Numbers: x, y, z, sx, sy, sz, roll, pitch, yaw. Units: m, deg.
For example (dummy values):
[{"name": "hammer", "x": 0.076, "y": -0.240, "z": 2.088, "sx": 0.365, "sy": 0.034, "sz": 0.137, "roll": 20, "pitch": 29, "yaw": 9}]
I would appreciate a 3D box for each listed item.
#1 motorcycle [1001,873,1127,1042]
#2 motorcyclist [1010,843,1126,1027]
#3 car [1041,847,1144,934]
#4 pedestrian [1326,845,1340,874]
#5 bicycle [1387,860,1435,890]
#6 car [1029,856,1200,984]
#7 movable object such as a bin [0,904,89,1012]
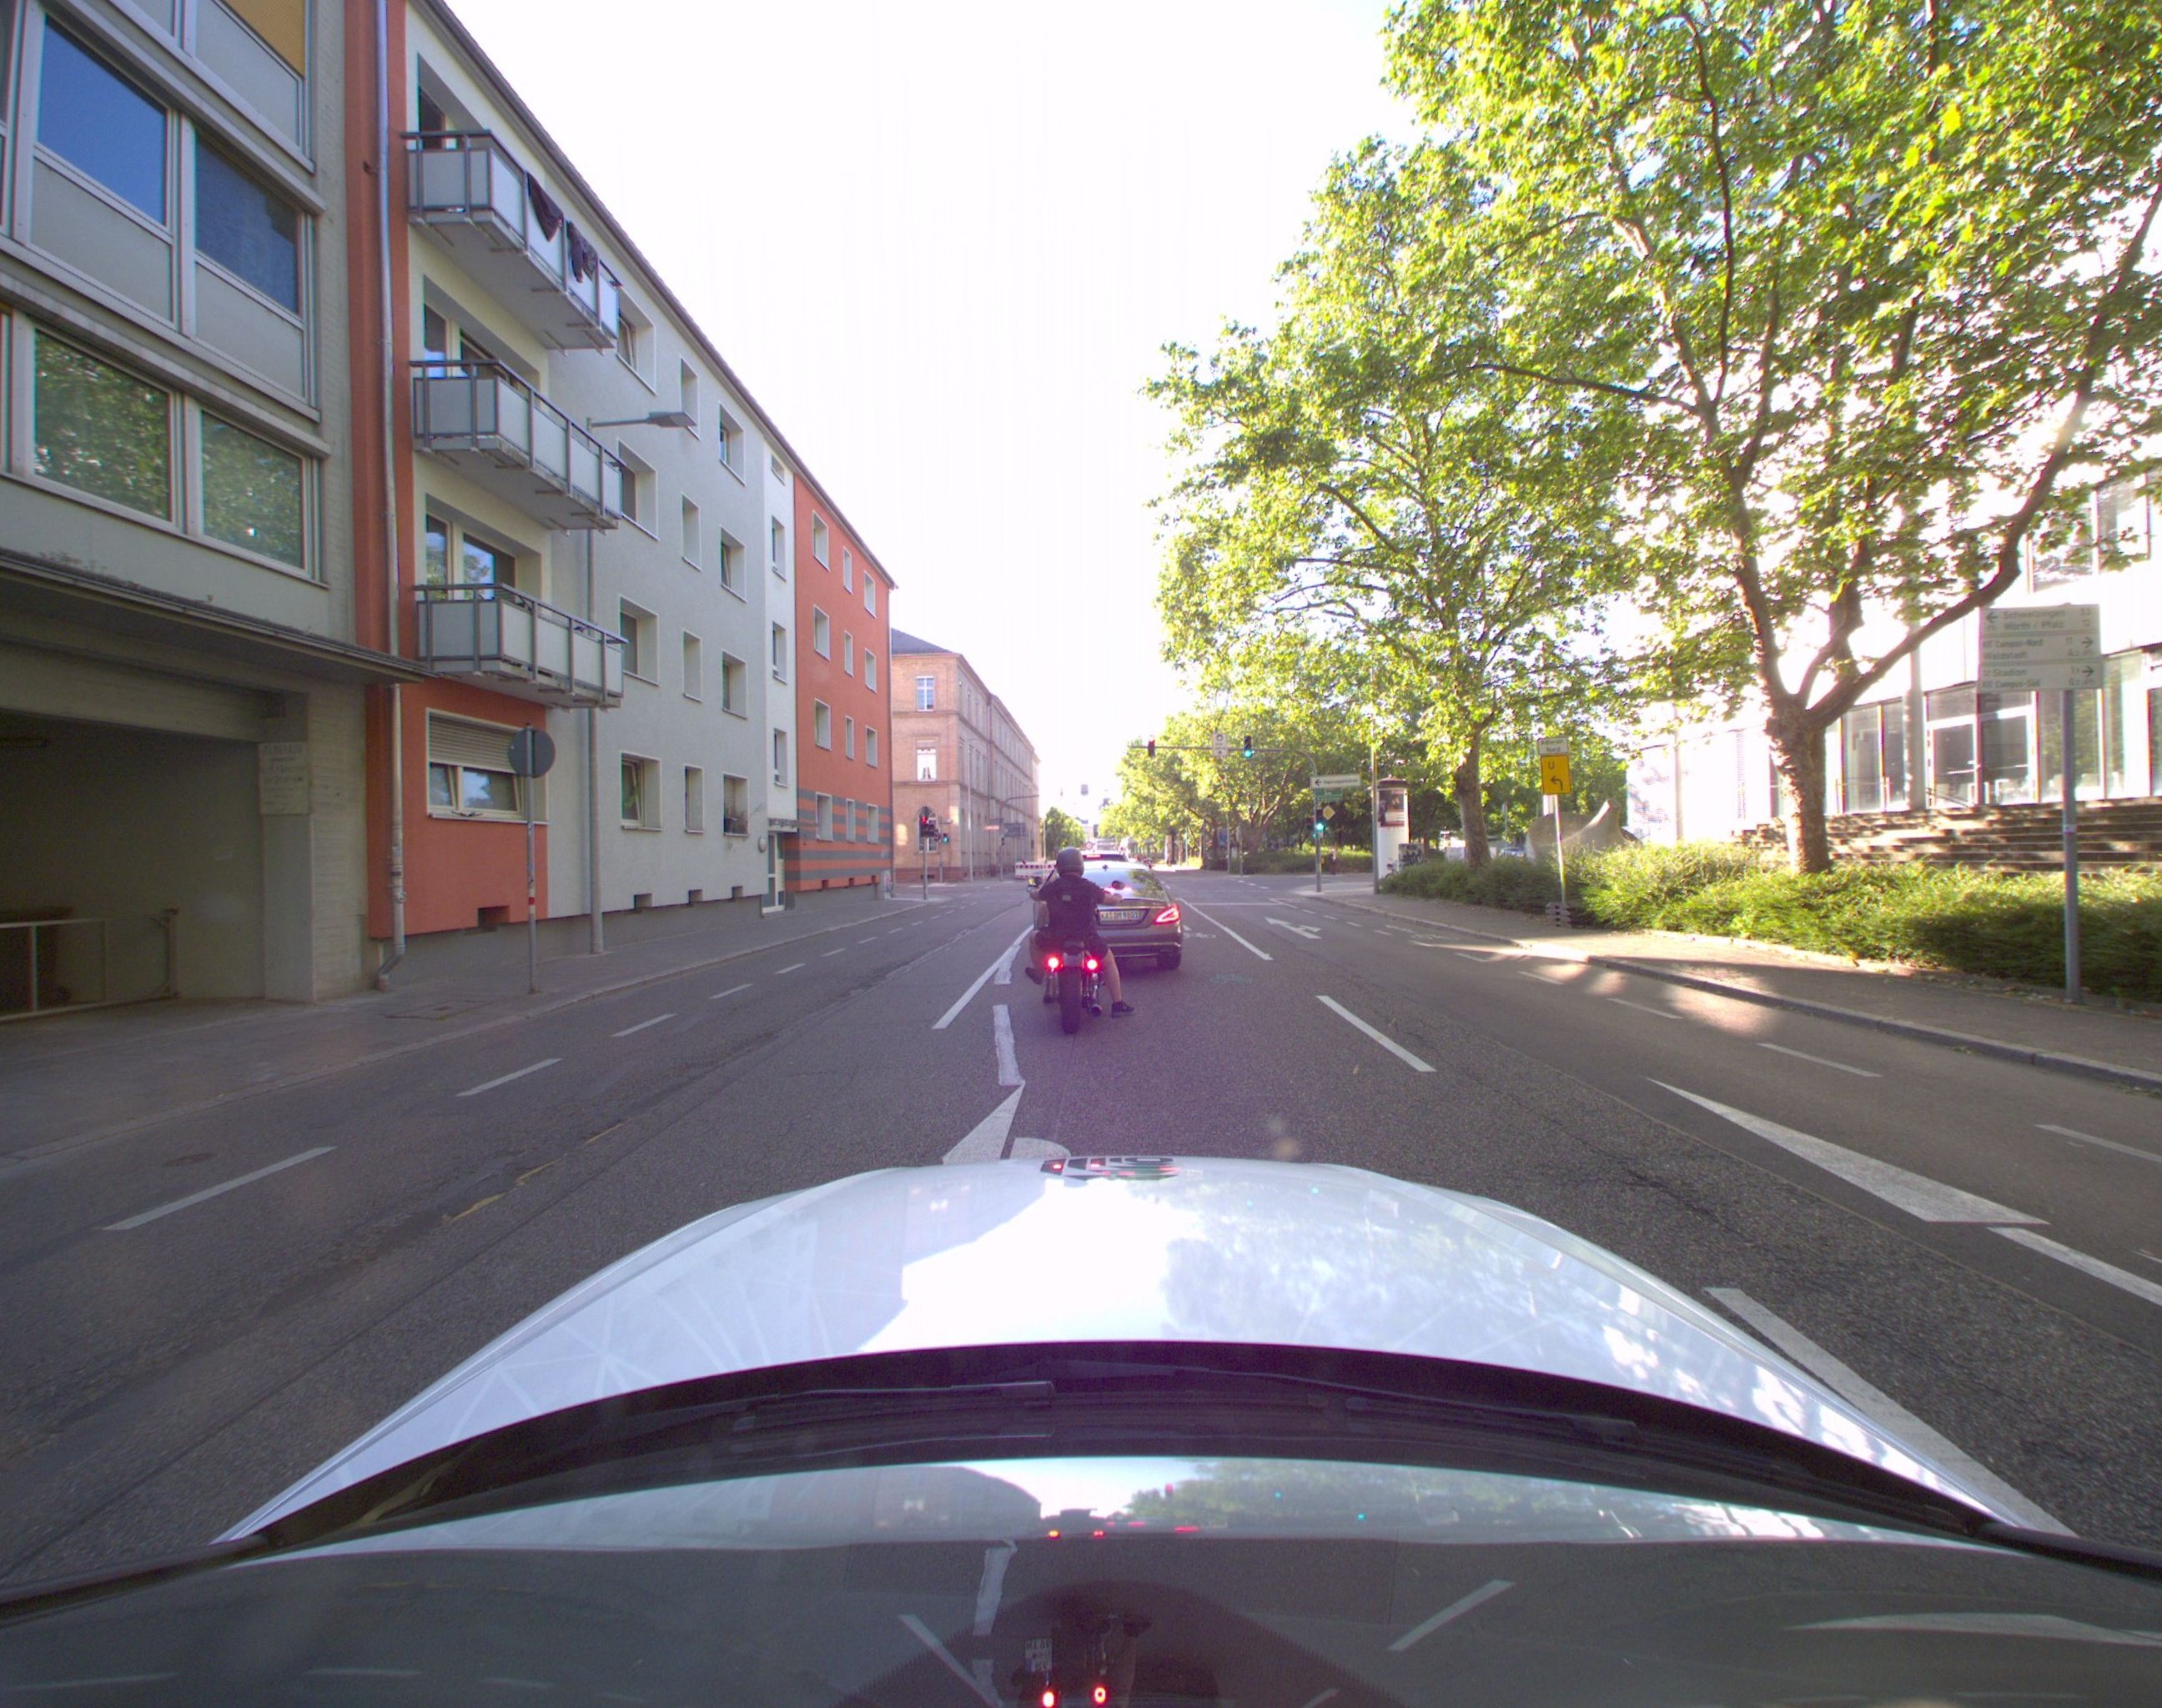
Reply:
[{"name": "motorcycle", "x": -0.095, "y": 0.857, "z": 7.703, "sx": 0.977, "sy": 1.275, "sz": 2.408, "roll": -1, "pitch": 0, "yaw": 2}, {"name": "motorcyclist", "x": -0.096, "y": 0.703, "z": 7.694, "sx": 0.977, "sy": 1.578, "sz": 1.249, "roll": -1, "pitch": 0, "yaw": 1}, {"name": "car", "x": 0.286, "y": 0.725, "z": 17.685, "sx": 1.986, "sy": 1.665, "sz": 4.001, "roll": 0, "pitch": -1, "yaw": 2}, {"name": "pedestrian", "x": 15.576, "y": 0.322, "z": 50.376, "sx": 0.671, "sy": 1.772, "sz": 0.621, "roll": -1, "pitch": -1, "yaw": 31}, {"name": "bicycle", "x": 11.075, "y": 0.712, "z": 27.336, "sx": 1.475, "sy": 0.980, "sz": 0.300, "roll": 0, "pitch": -1, "yaw": 7}, {"name": "car", "x": 0.260, "y": 0.772, "z": 11.758, "sx": 1.867, "sy": 1.444, "sz": 4.421, "roll": -1, "pitch": 0, "yaw": -6}, {"name": "movable object such as a bin", "x": -11.292, "y": 1.089, "z": 8.659, "sx": 0.639, "sy": 1.065, "sz": 0.675, "roll": -1, "pitch": 0, "yaw": 1}]
